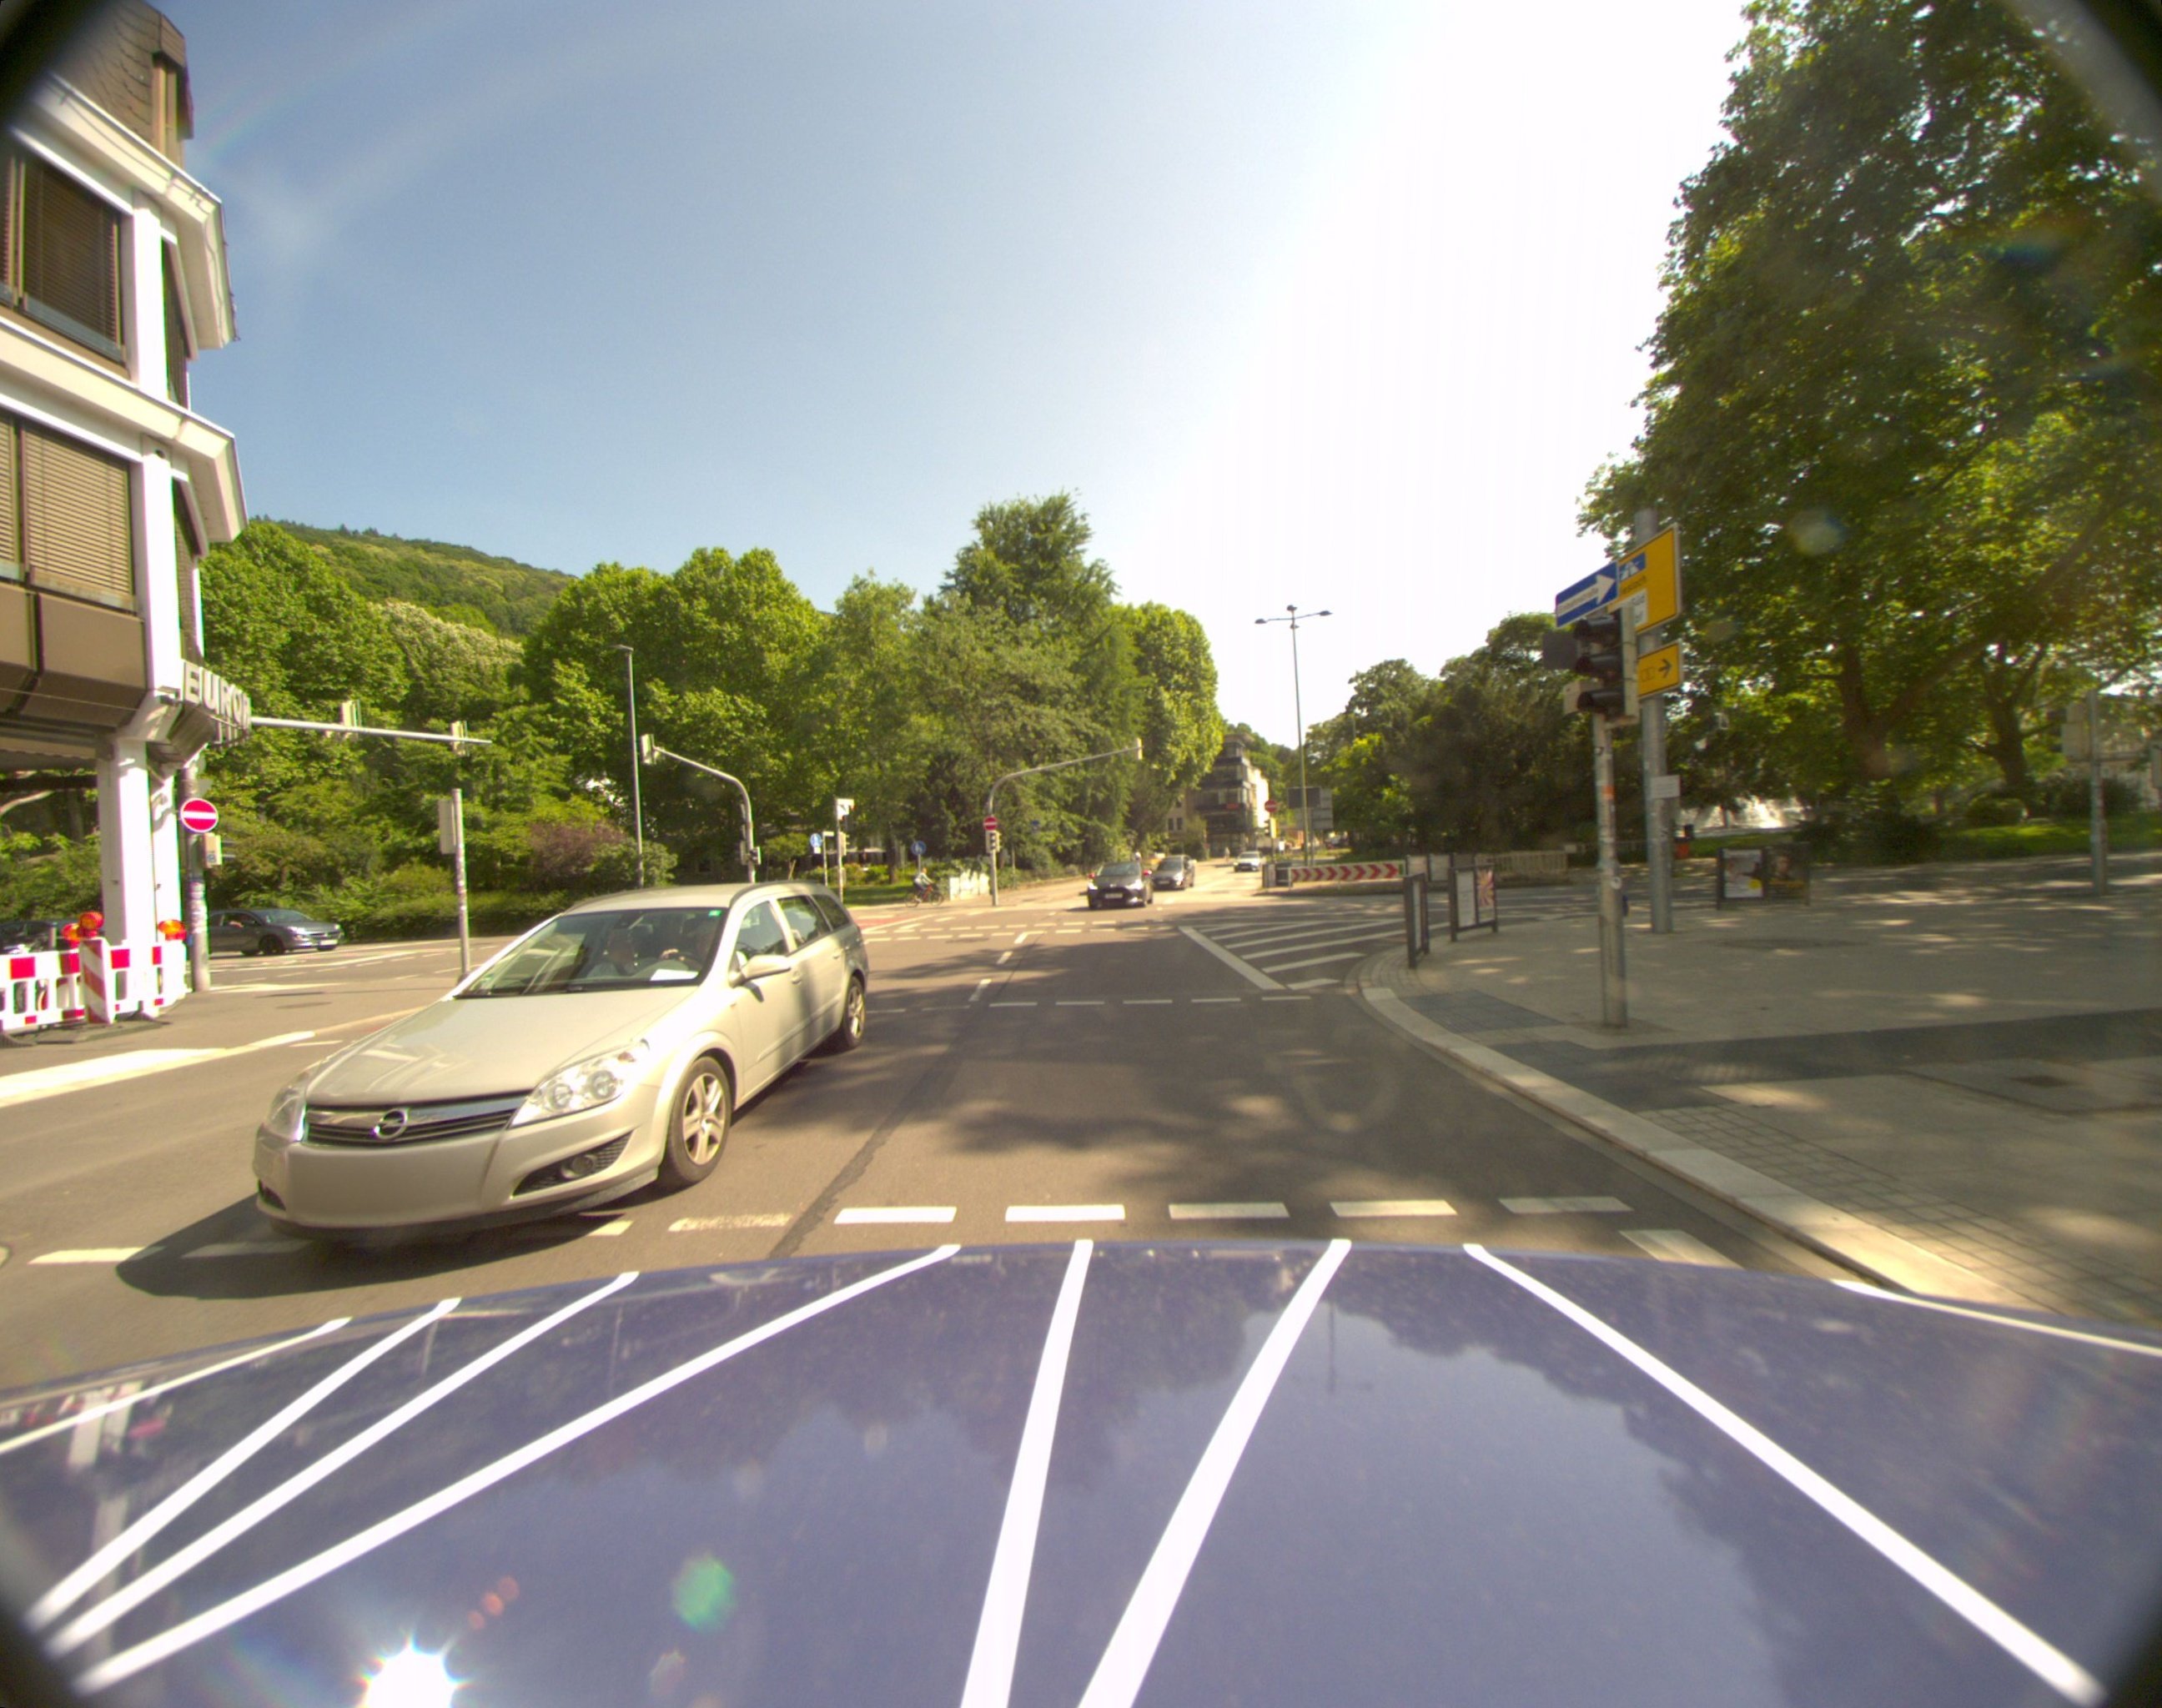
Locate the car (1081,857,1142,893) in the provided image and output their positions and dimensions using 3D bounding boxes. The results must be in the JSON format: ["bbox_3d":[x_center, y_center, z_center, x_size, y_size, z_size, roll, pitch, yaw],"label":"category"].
[{"bbox_3d":[1.596,0.993,37.745,1.846,1.421,4.216,-2,2,19],"label":"car"}]

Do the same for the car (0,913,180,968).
[{"bbox_3d":[-30.135,2.582,22.741,4.094,1.355,1.860,-3,-1,0],"label":"car"}]

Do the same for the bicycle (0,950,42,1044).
[{"bbox_3d":[-13.212,1.731,8.734,0.308,1.059,1.474,-1,0,36],"label":"bicycle"}]

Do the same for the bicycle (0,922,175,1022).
[{"bbox_3d":[-15.264,1.765,11.525,1.862,1.309,0.529,-2,-1,-38],"label":"bicycle"}]

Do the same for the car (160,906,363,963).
[{"bbox_3d":[-24.532,2.398,22.864,4.094,1.355,1.860,-3,-1,1],"label":"car"}]

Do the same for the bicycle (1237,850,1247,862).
[{"bbox_3d":[16.826,0.186,79.413,0.758,1.114,2.004,-2,2,21],"label":"bicycle"}]

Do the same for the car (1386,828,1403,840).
[{"bbox_3d":[44.454,-2.829,107.701,1.848,1.652,4.004,-3,1,18],"label":"car"}]

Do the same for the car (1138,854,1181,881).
[{"bbox_3d":[5.169,0.832,49.637,1.887,1.674,4.148,-2,0,19],"label":"car"}]

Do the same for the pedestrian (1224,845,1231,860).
[{"bbox_3d":[17.655,-0.182,91.597,0.710,1.663,0.535,-3,1,18],"label":"pedestrian"}]

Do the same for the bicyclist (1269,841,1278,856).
[{"bbox_3d":[22.105,-0.637,87.200,0.709,1.603,0.733,-3,1,39],"label":"bicyclist"}]

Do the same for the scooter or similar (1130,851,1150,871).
[{"bbox_3d":[4.111,0.478,52.722,0.819,1.291,1.698,-2,2,21],"label":"scooter or similar"}]

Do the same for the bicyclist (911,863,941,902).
[{"bbox_3d":[-6.584,1.209,32.221,0.945,1.566,0.866,-4,2,-31],"label":"bicyclist"}]

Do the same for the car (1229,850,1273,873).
[{"bbox_3d":[12.461,0.543,55.484,1.938,1.421,4.557,-3,0,28],"label":"car"}]

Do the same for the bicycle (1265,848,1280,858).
[{"bbox_3d":[21.992,-0.157,87.222,0.709,1.048,2.211,-3,1,39],"label":"bicycle"}]

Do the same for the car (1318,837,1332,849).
[{"bbox_3d":[38.510,-1.674,119.872,1.848,1.777,4.005,-3,0,21],"label":"car"}]

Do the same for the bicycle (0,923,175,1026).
[{"bbox_3d":[-14.897,1.756,11.146,1.971,1.309,0.529,-2,-1,-38],"label":"bicycle"}]

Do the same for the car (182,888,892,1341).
[{"bbox_3d":[-2.693,1.128,5.220,1.712,1.513,4.406,-3,0,-2],"label":"car"}]

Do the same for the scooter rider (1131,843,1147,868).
[{"bbox_3d":[3.992,0.124,52.438,0.822,1.662,0.710,-2,2,21],"label":"scooter rider"}]

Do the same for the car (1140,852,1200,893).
[{"bbox_3d":[4.378,0.852,36.763,1.887,1.674,4.146,-1,2,21],"label":"car"}]

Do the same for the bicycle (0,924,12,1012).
[{"bbox_3d":[-18.359,1.830,11.773,1.971,1.413,0.529,2,-3,-38],"label":"bicycle"}]

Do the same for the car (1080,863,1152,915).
[{"bbox_3d":[1.194,1.051,24.063,1.809,1.442,3.957,-3,-1,8],"label":"car"}]

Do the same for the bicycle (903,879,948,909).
[{"bbox_3d":[-6.601,1.670,32.239,1.680,1.114,0.782,-3,1,-31],"label":"bicycle"}]

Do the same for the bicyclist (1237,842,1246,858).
[{"bbox_3d":[16.762,-0.448,79.369,0.765,1.627,0.944,-2,2,20],"label":"bicyclist"}]

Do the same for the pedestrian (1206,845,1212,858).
[{"bbox_3d":[18.276,-0.353,108.499,0.700,1.695,0.603,-3,0,24],"label":"pedestrian"}]
